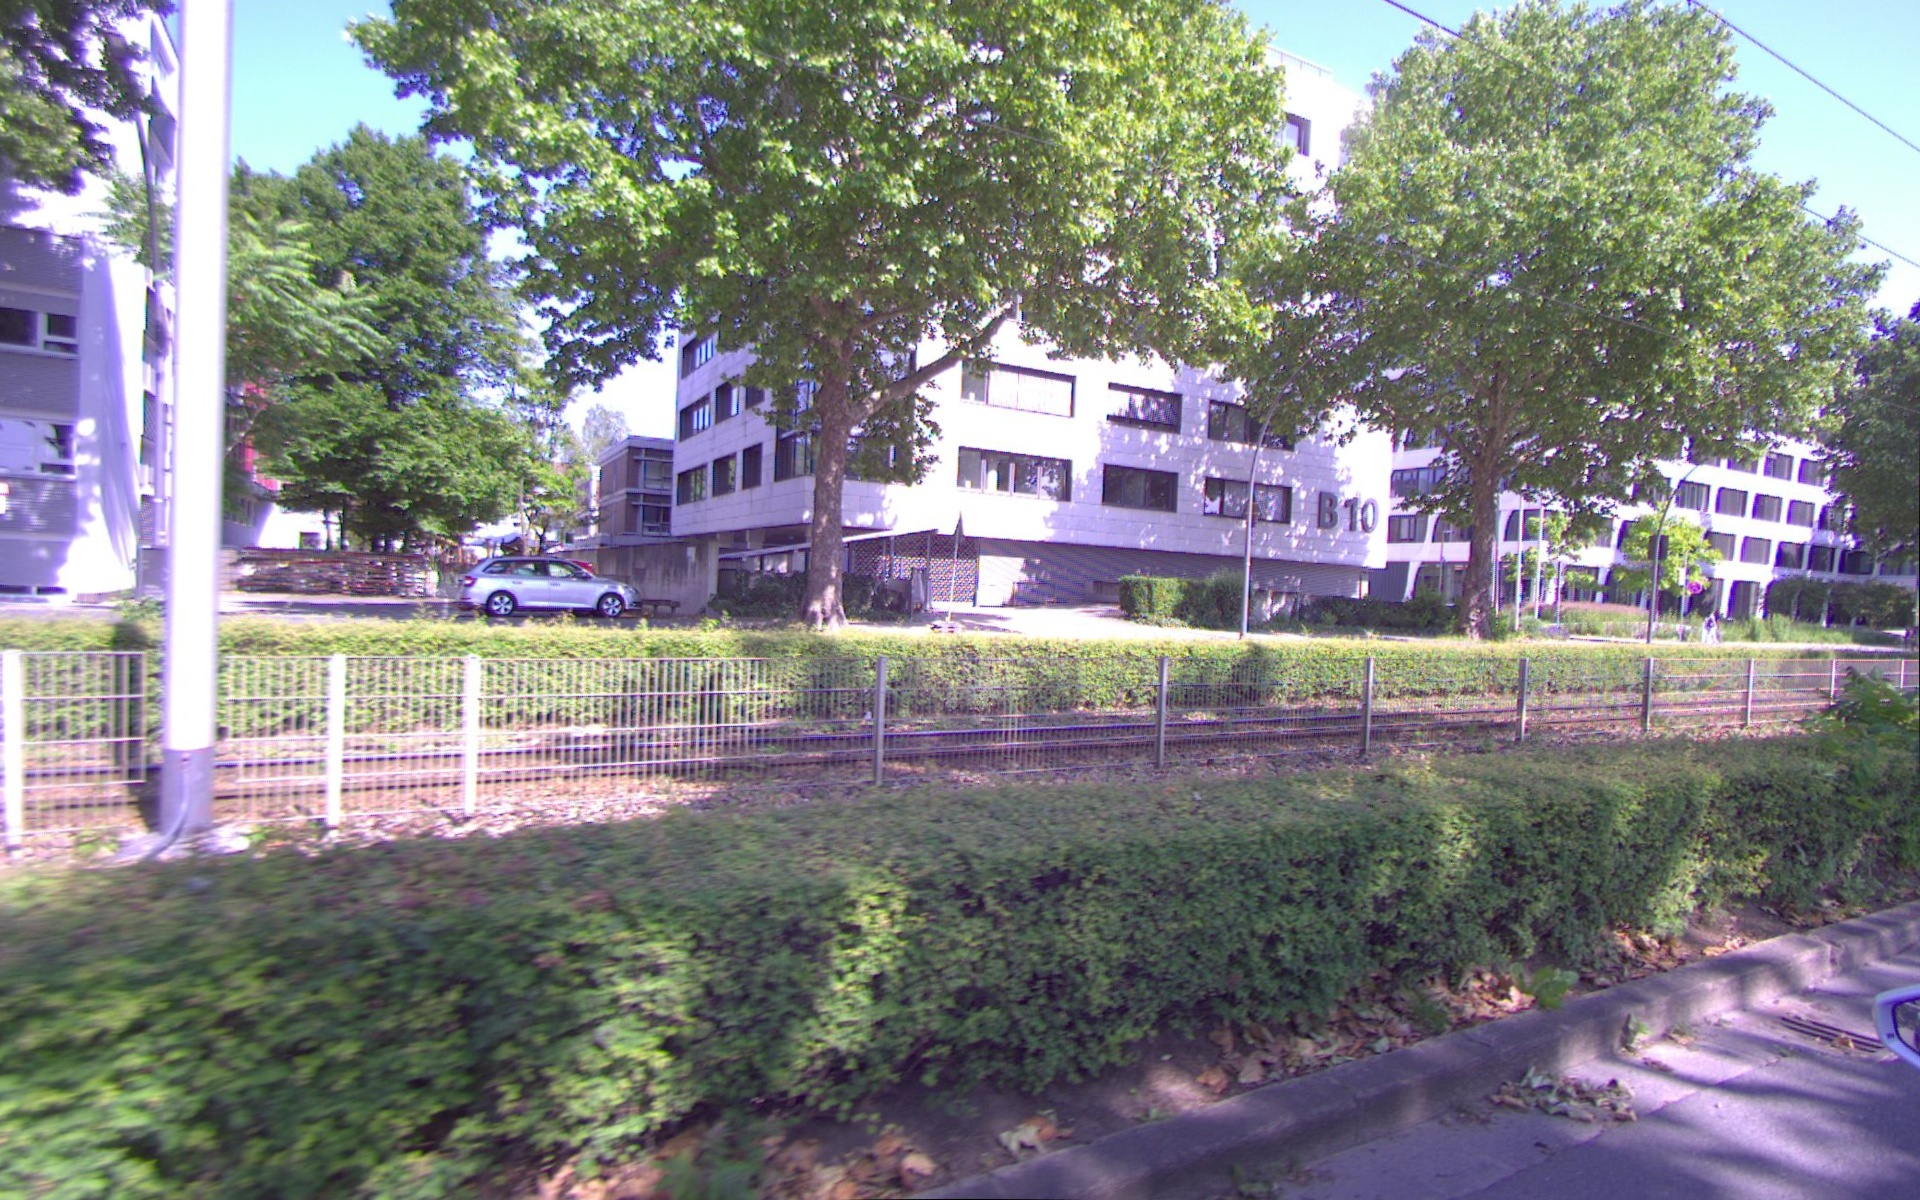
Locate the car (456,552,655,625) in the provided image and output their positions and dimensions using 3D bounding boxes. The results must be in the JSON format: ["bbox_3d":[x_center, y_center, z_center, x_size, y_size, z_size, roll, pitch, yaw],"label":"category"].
[{"bbox_3d":[-9.840,-0.270,24.516,4.298,1.570,1.733,2,1,-31],"label":"car"}]

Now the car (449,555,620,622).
[{"bbox_3d":[-11.199,-0.283,26.479,3.954,1.570,1.733,2,1,-30],"label":"car"}]

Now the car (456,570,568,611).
[{"bbox_3d":[-16.979,-0.371,38.105,3.710,1.372,1.635,2,1,-30],"label":"car"}]

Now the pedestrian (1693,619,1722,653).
[{"bbox_3d":[36.978,1.763,49.686,1.002,1.609,0.717,2,2,-28],"label":"pedestrian"}]
